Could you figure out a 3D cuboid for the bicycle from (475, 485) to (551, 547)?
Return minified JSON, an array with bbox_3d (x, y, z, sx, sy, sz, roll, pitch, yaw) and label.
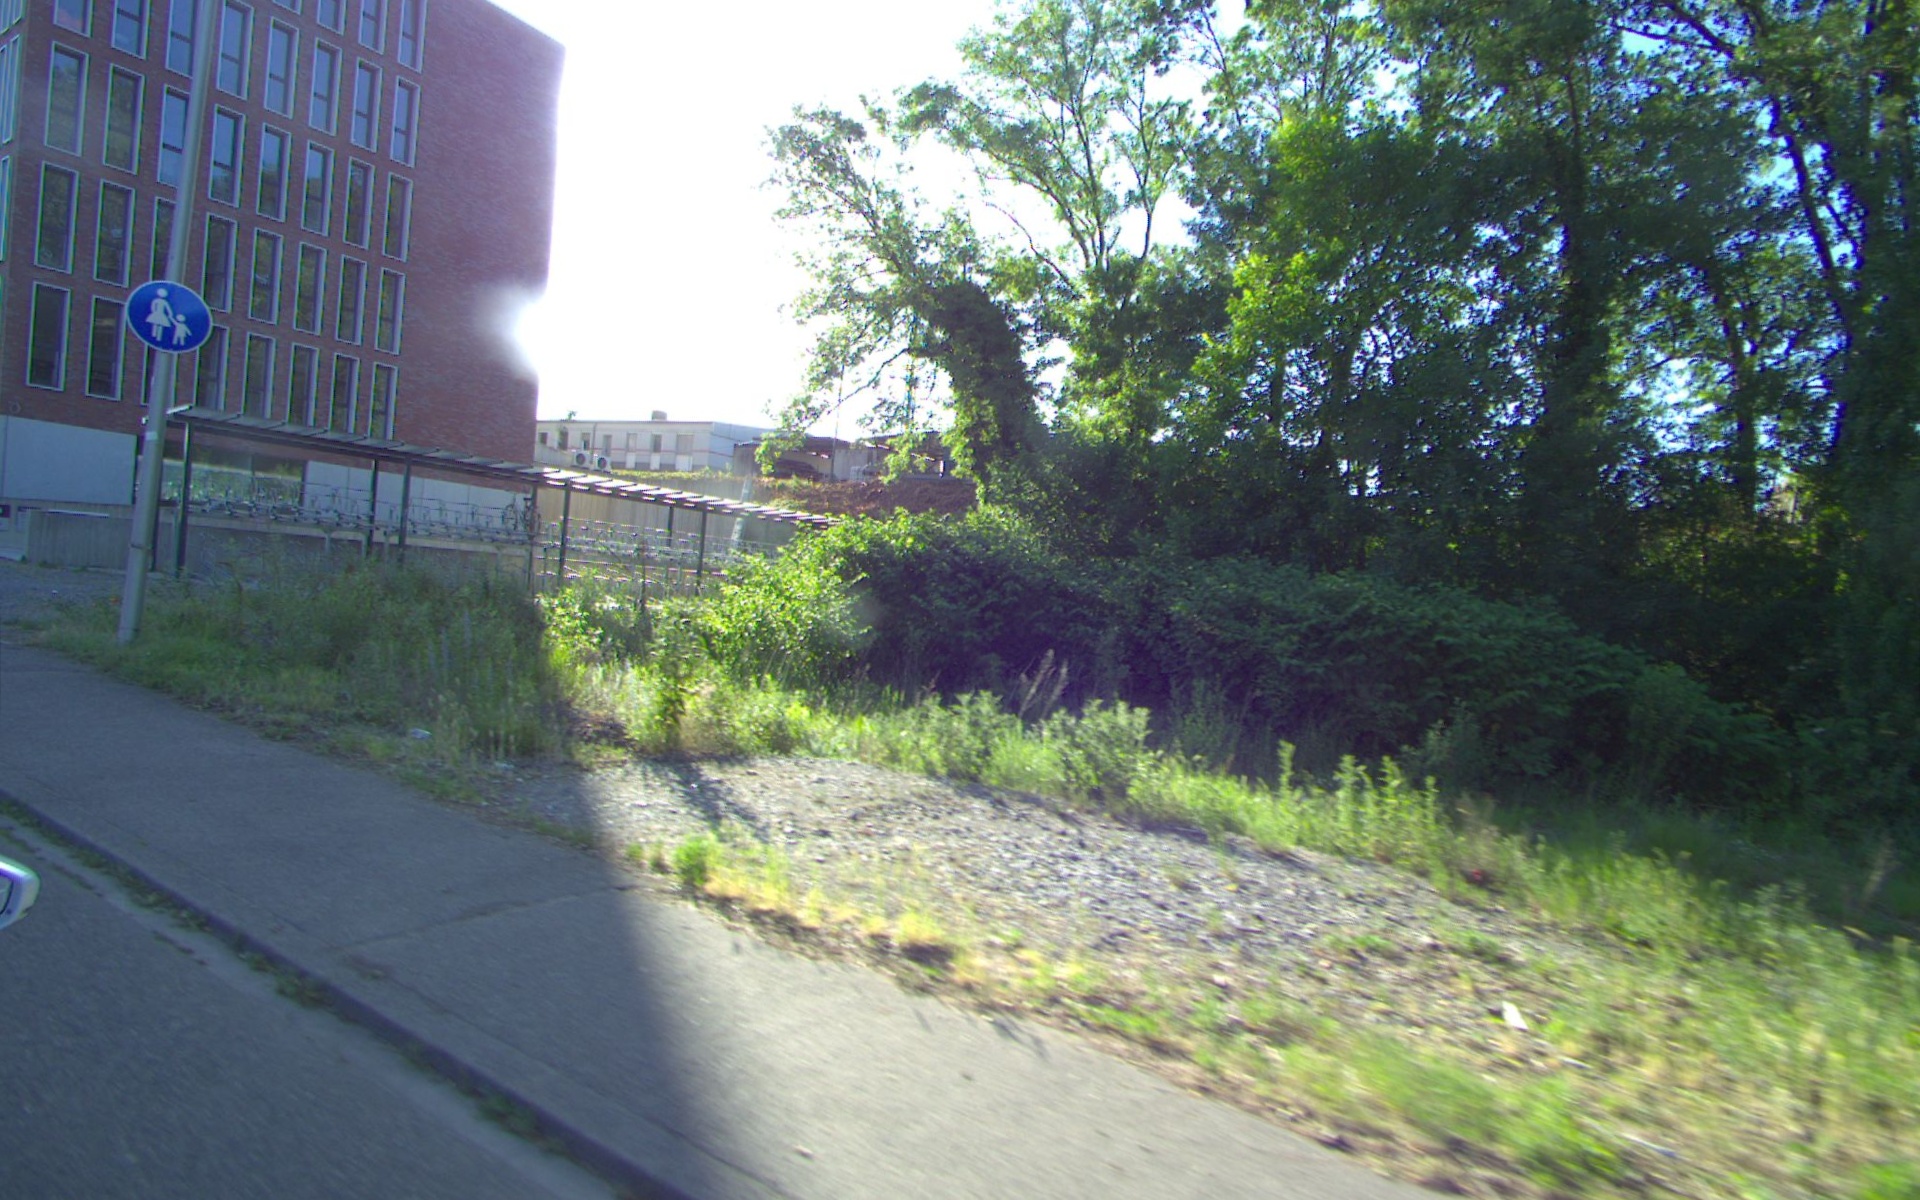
[{"bbox_3d":[-10.964,-2.069,24.665,1.957,1.338,0.631,6,1,32],"label":"bicycle"}]
